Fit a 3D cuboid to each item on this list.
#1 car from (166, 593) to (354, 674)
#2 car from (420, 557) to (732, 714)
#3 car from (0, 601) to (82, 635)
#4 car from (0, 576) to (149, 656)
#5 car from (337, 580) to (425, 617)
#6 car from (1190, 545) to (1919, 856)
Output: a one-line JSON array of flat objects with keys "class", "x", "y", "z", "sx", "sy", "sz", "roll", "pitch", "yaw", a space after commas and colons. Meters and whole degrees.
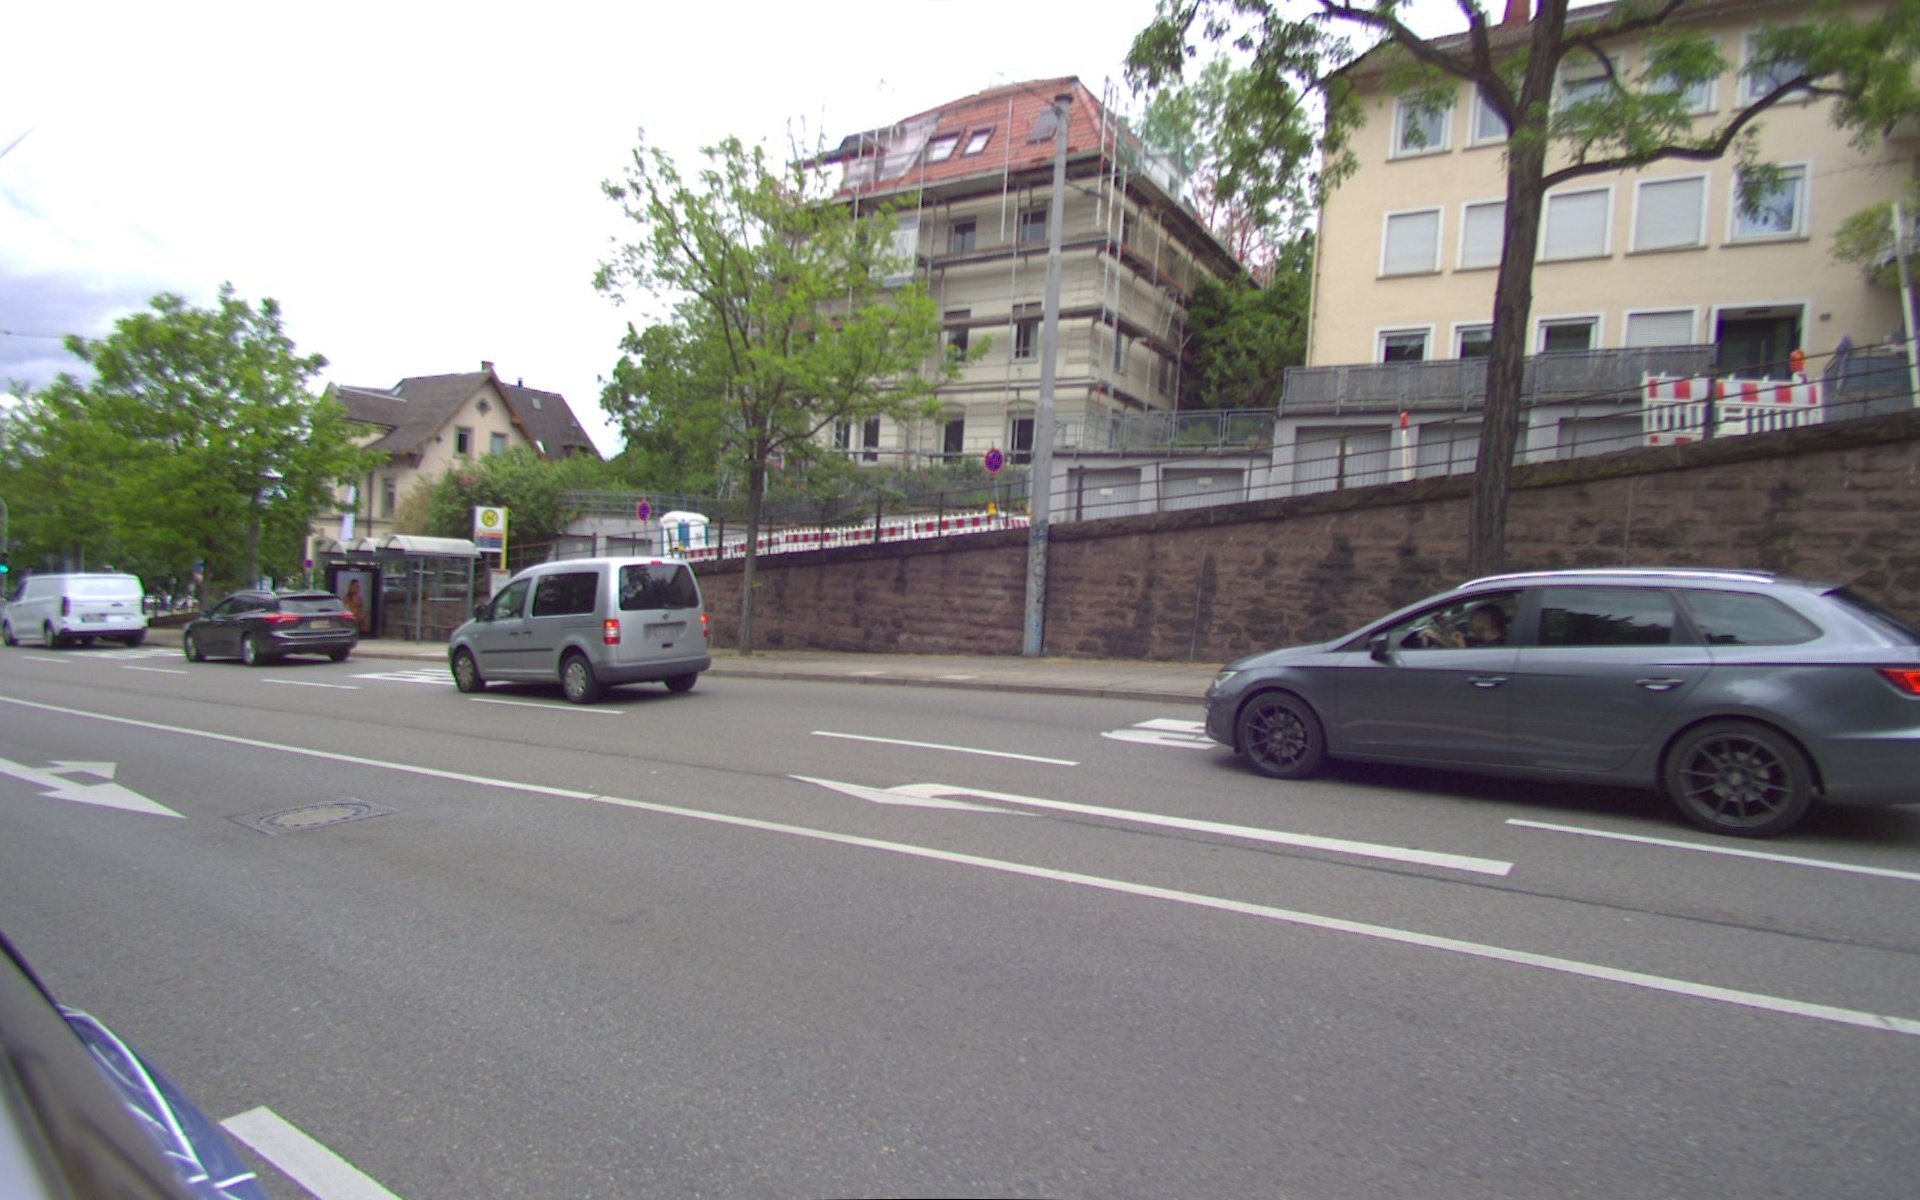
[{"class": "car", "x": -14.425, "y": 0.633, "z": 20.782, "sx": 4.601, "sy": 1.484, "sz": 1.643, "roll": 0, "pitch": 1, "yaw": 35}, {"class": "car", "x": -5.365, "y": 0.396, "z": 13.917, "sx": 4.440, "sy": 1.827, "sz": 1.840, "roll": 0, "pitch": 2, "yaw": 36}, {"class": "car", "x": -42.275, "y": 0.837, "z": 46.135, "sx": 1.544, "sy": 1.484, "sz": 3.099, "roll": 0, "pitch": -2, "yaw": 34}, {"class": "car", "x": -24.610, "y": 0.419, "z": 27.843, "sx": 5.408, "sy": 2.029, "sz": 1.978, "roll": -1, "pitch": 0, "yaw": 33}, {"class": "car", "x": -24.067, "y": -0.076, "z": 42.047, "sx": 3.624, "sy": 1.432, "sz": 1.691, "roll": 1, "pitch": -3, "yaw": 33}, {"class": "car", "x": 3.914, "y": 0.479, "z": 6.630, "sx": 4.404, "sy": 1.478, "sz": 1.763, "roll": -1, "pitch": 1, "yaw": 44}]
